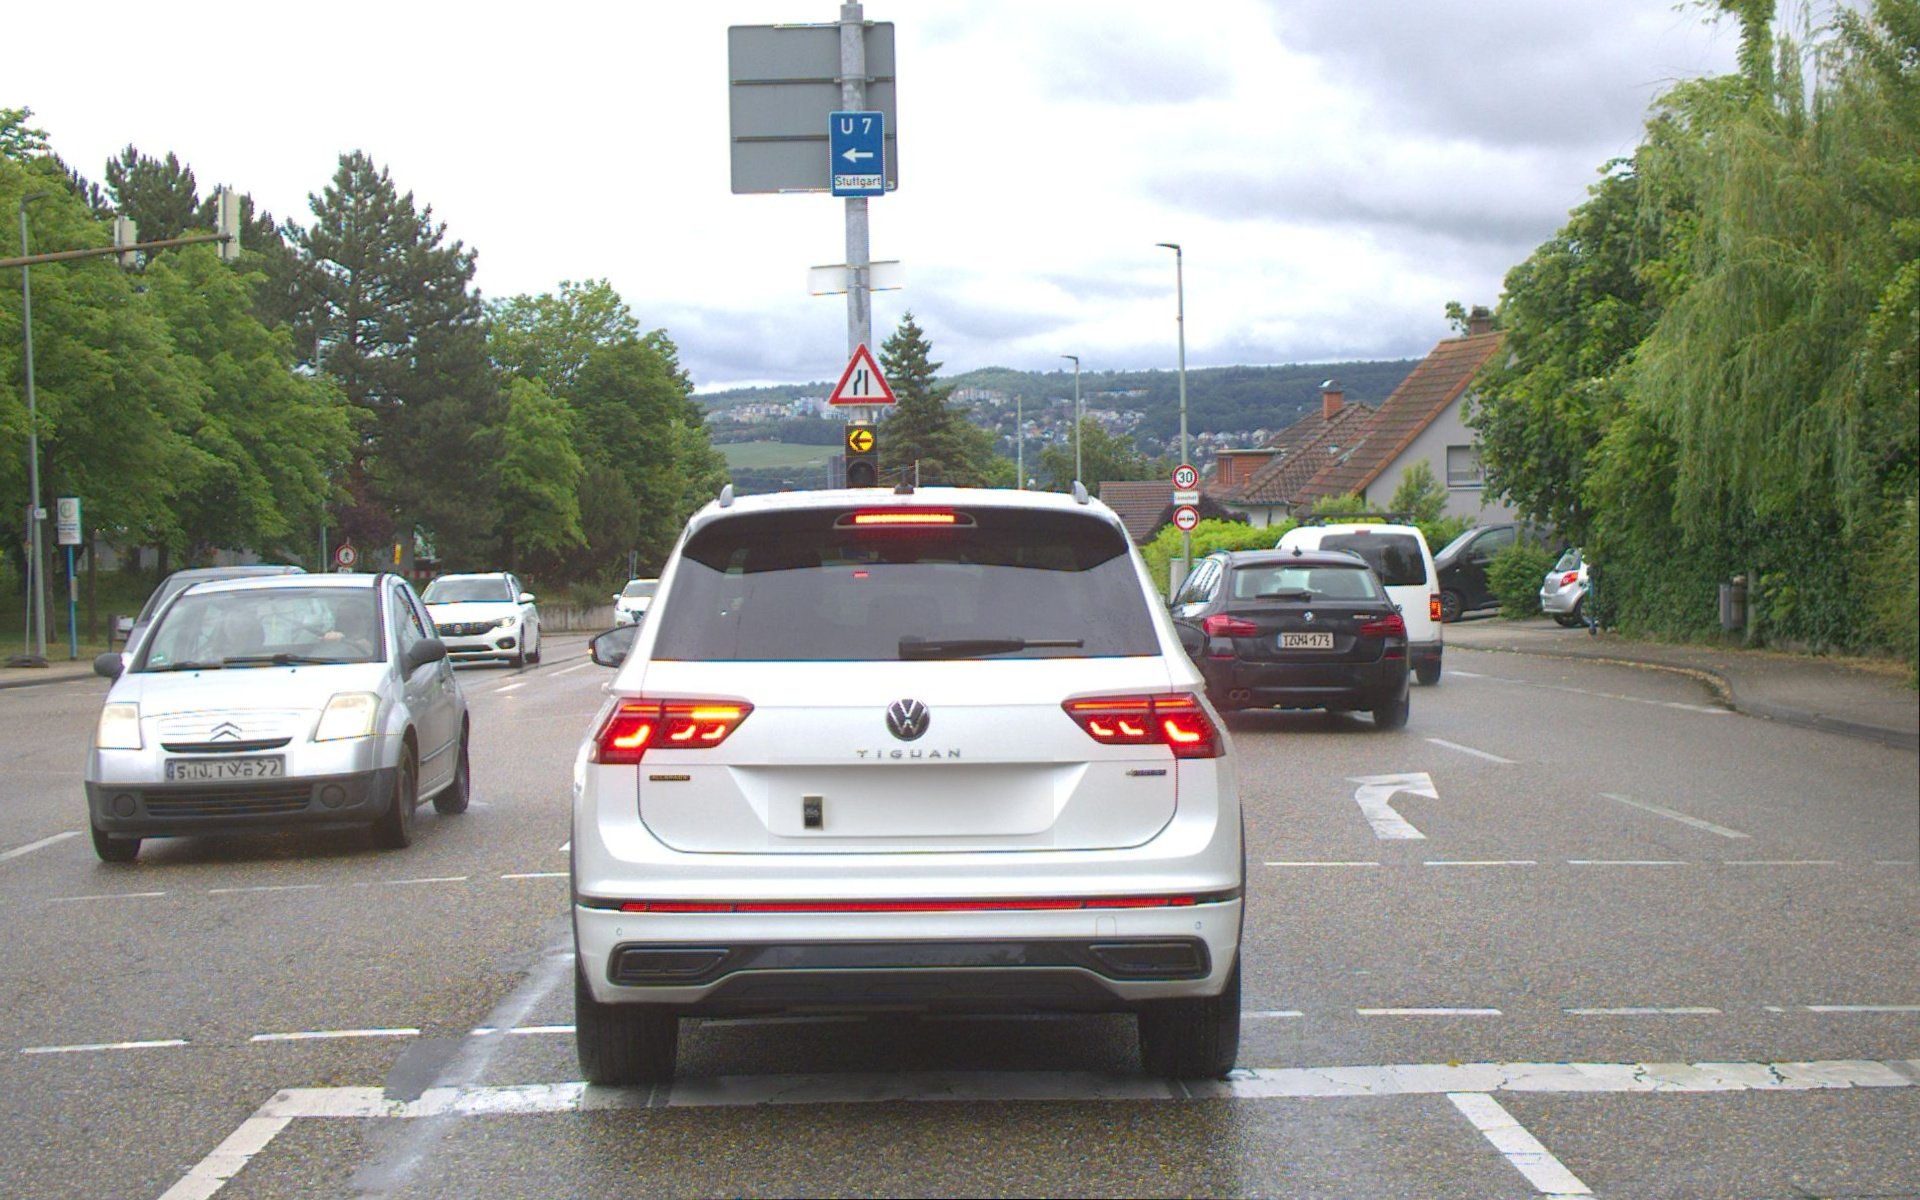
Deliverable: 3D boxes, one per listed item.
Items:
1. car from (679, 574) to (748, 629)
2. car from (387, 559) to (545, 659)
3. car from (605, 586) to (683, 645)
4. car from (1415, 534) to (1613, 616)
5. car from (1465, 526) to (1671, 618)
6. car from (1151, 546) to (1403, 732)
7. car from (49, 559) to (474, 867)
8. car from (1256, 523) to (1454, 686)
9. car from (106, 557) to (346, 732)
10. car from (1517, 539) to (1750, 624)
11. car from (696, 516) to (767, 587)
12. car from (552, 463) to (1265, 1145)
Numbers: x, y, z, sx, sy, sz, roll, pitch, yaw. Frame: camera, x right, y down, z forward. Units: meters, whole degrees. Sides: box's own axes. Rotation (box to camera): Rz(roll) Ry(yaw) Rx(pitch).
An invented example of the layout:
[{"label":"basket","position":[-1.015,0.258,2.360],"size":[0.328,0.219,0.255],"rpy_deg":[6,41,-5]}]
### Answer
[{"label":"car","position":[-7.340,0.022,102.856],"size":[1.776,1.497,4.472],"rpy_deg":[-2,1,-1]},{"label":"car","position":[-7.711,0.112,54.021],"size":[1.967,1.449,4.309],"rpy_deg":[-1,1,-2]},{"label":"car","position":[-8.073,0.384,87.958],"size":[1.746,1.392,3.802],"rpy_deg":[-1,1,-2]},{"label":"car","position":[11.160,-0.498,69.359],"size":[3.627,1.621,1.791],"rpy_deg":[0,0,-4]},{"label":"car","position":[11.821,-0.544,66.989],"size":[3.627,1.741,1.708],"rpy_deg":[-1,0,-3]},{"label":"car","position":[2.601,0.281,28.958],"size":[1.680,1.455,3.802],"rpy_deg":[0,1,-1]},{"label":"car","position":[-3.716,0.539,18.842],"size":[1.639,1.455,3.519],"rpy_deg":[-2,1,-1]},{"label":"car","position":[4.496,0.016,39.576],"size":[1.712,1.752,3.802],"rpy_deg":[-1,1,-1]},{"label":"car","position":[-7.229,0.398,34.158],"size":[1.699,1.593,3.550],"rpy_deg":[-1,1,-2]},{"label":"car","position":[12.040,-0.327,61.596],"size":[3.713,1.390,1.729],"rpy_deg":[-2,0,-5]},{"label":"car","position":[-8.298,-1.796,125.150],"size":[2.297,2.519,5.774],"rpy_deg":[0,1,-1]},{"label":"car","position":[-0.167,0.472,10.678],"size":[1.763,1.690,4.273],"rpy_deg":[0,1,-1]}]
